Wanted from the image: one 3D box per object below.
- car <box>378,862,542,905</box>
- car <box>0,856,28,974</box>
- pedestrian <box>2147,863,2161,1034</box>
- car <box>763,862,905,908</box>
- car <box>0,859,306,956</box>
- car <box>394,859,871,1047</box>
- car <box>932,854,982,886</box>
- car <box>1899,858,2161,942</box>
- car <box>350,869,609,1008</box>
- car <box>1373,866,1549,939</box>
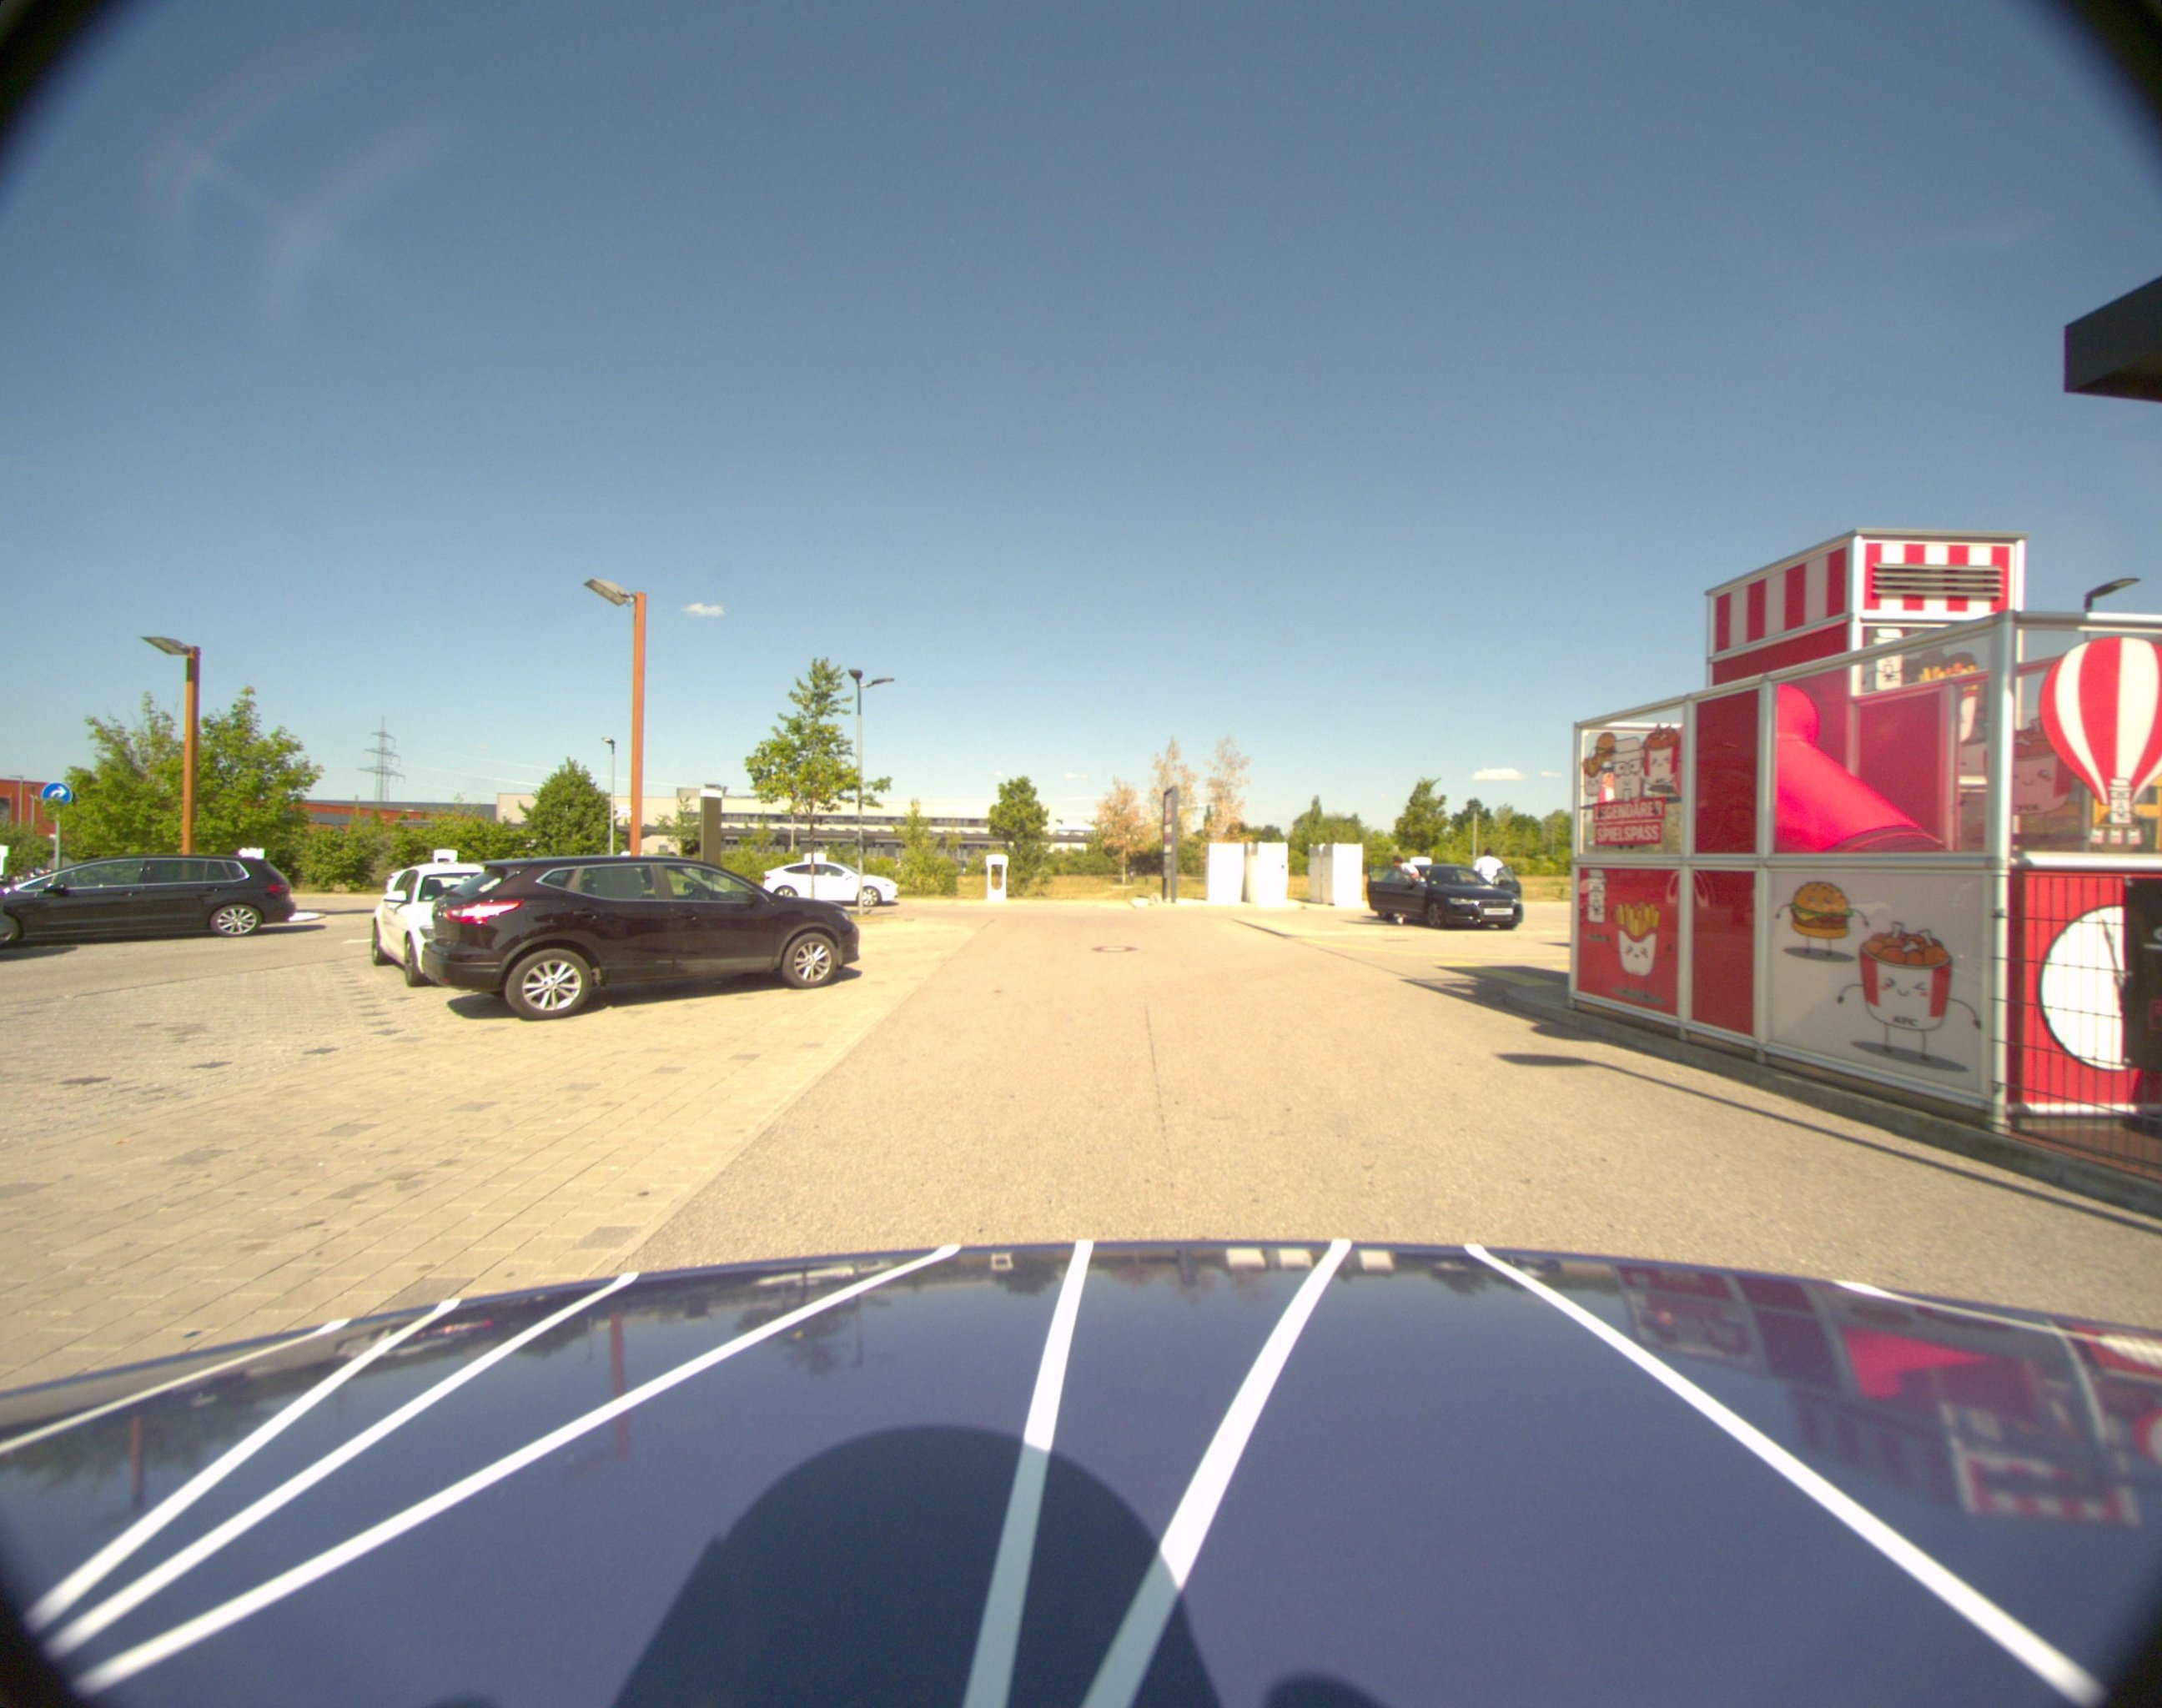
[{"bbox_3d":[-22.181,1.040,27.277,4.330,1.470,1.842,0,0,-1],"label":"car"},{"bbox_3d":[-17.353,0.868,9.840,1.808,1.665,4.123,1,1,44],"label":"car"},{"bbox_3d":[9.476,0.792,6.128,0.798,1.435,0.693,0,0,-4],"label":"pedestrian"},{"bbox_3d":[-8.854,1.106,27.553,4.575,1.583,1.841,0,0,-6],"label":"car"},{"bbox_3d":[-17.111,0.872,13.880,1.749,1.543,4.009,0,0,41],"label":"car"},{"bbox_3d":[-4.794,0.862,8.597,1.852,1.581,4.313,0,-1,45],"label":"car"},{"bbox_3d":[-6.944,0.864,43.099,1.917,1.739,4.258,0,0,3],"label":"car"},{"bbox_3d":[20.963,0.885,16.201,1.999,1.560,4.549,0,-1,-4],"label":"car"},{"bbox_3d":[-8.379,0.967,10.452,4.195,1.451,1.980,0,0,40],"label":"car"},{"bbox_3d":[8.494,1.018,17.488,1.729,1.402,4.314,0,0,-3],"label":"car"}]
